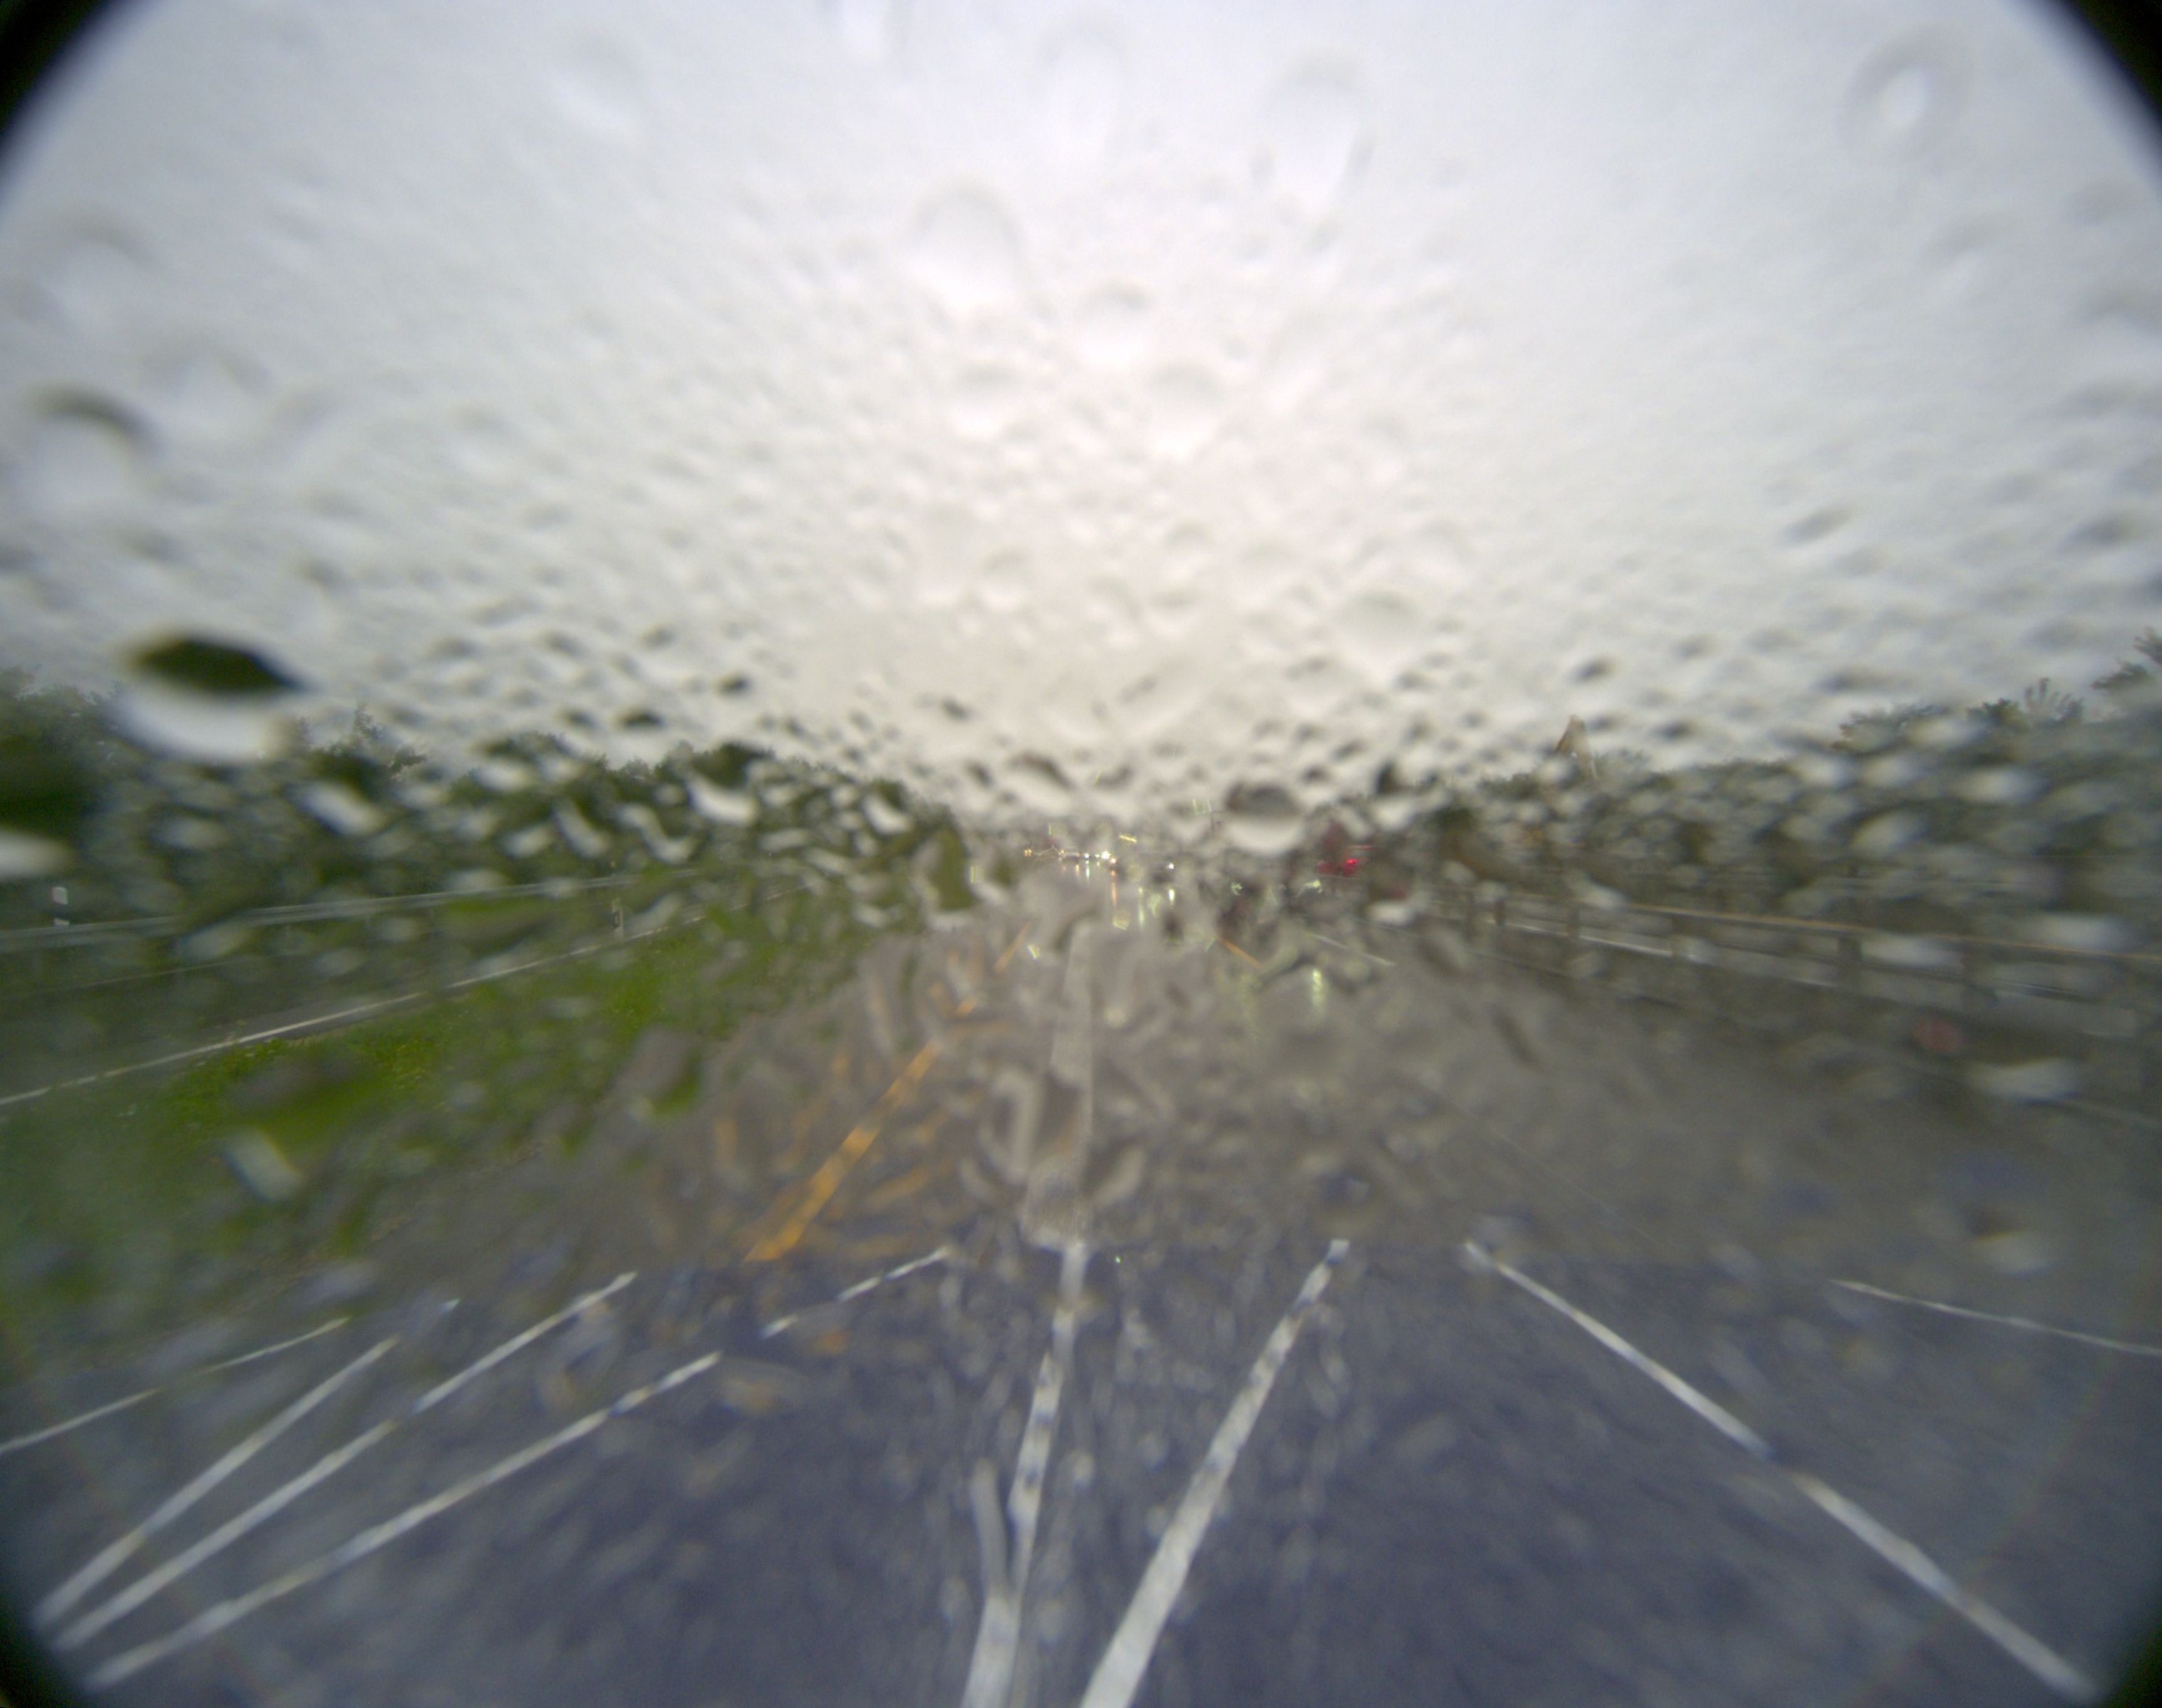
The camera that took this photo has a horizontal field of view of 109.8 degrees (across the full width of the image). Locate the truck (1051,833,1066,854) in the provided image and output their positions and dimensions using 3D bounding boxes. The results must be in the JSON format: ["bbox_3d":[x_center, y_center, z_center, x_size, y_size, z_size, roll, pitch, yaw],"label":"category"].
[{"bbox_3d":[-4.406,-2.066,152.335,2.484,4.061,8.703,-2,1,1],"label":"truck"}]

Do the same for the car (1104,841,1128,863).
[{"bbox_3d":[3.502,-0.209,76.288,2.211,2.002,5.563,-2,1,1],"label":"car"}]

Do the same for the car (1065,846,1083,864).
[{"bbox_3d":[-0.877,0.066,90.312,1.882,2.002,3.998,-2,1,-3],"label":"car"}]

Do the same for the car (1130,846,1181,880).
[{"bbox_3d":[3.586,0.395,37.312,1.998,1.489,4.630,-2,1,0],"label":"car"}]

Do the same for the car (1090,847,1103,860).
[{"bbox_3d":[2.182,-0.098,108.771,1.695,1.740,3.999,-2,1,1],"label":"car"}]

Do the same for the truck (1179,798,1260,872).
[{"bbox_3d":[10.310,-1.372,58.898,3.282,4.809,15.983,-2,1,0],"label":"truck"}]

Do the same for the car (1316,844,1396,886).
[{"bbox_3d":[10.375,0.377,28.956,1.704,1.420,3.833,-2,1,1],"label":"car"}]

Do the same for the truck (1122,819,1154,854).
[{"bbox_3d":[8.494,-2.545,115.204,3.283,4.809,15.982,-2,1,-1],"label":"truck"}]

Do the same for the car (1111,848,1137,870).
[{"bbox_3d":[3.361,0.402,60.218,1.978,1.586,4.310,-1,-1,2],"label":"car"}]

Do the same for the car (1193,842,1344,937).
[{"bbox_3d":[3.581,0.592,15.387,1.998,1.576,4.413,-2,1,1],"label":"car"}]

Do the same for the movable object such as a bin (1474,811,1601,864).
[{"bbox_3d":[26.697,-0.960,44.861,3.774,2.782,6.329,-2,1,2],"label":"movable object such as a bin"}]

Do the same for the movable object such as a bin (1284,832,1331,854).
[{"bbox_3d":[25.637,-1.232,86.260,3.448,2.281,5.098,-2,1,-5],"label":"movable object such as a bin"}]

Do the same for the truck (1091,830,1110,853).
[{"bbox_3d":[4.321,-2.815,174.486,3.593,4.809,15.982,-2,1,-1],"label":"truck"}]

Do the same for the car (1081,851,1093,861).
[{"bbox_3d":[1.041,0.313,130.622,1.845,1.586,3.999,-2,1,1],"label":"car"}]
